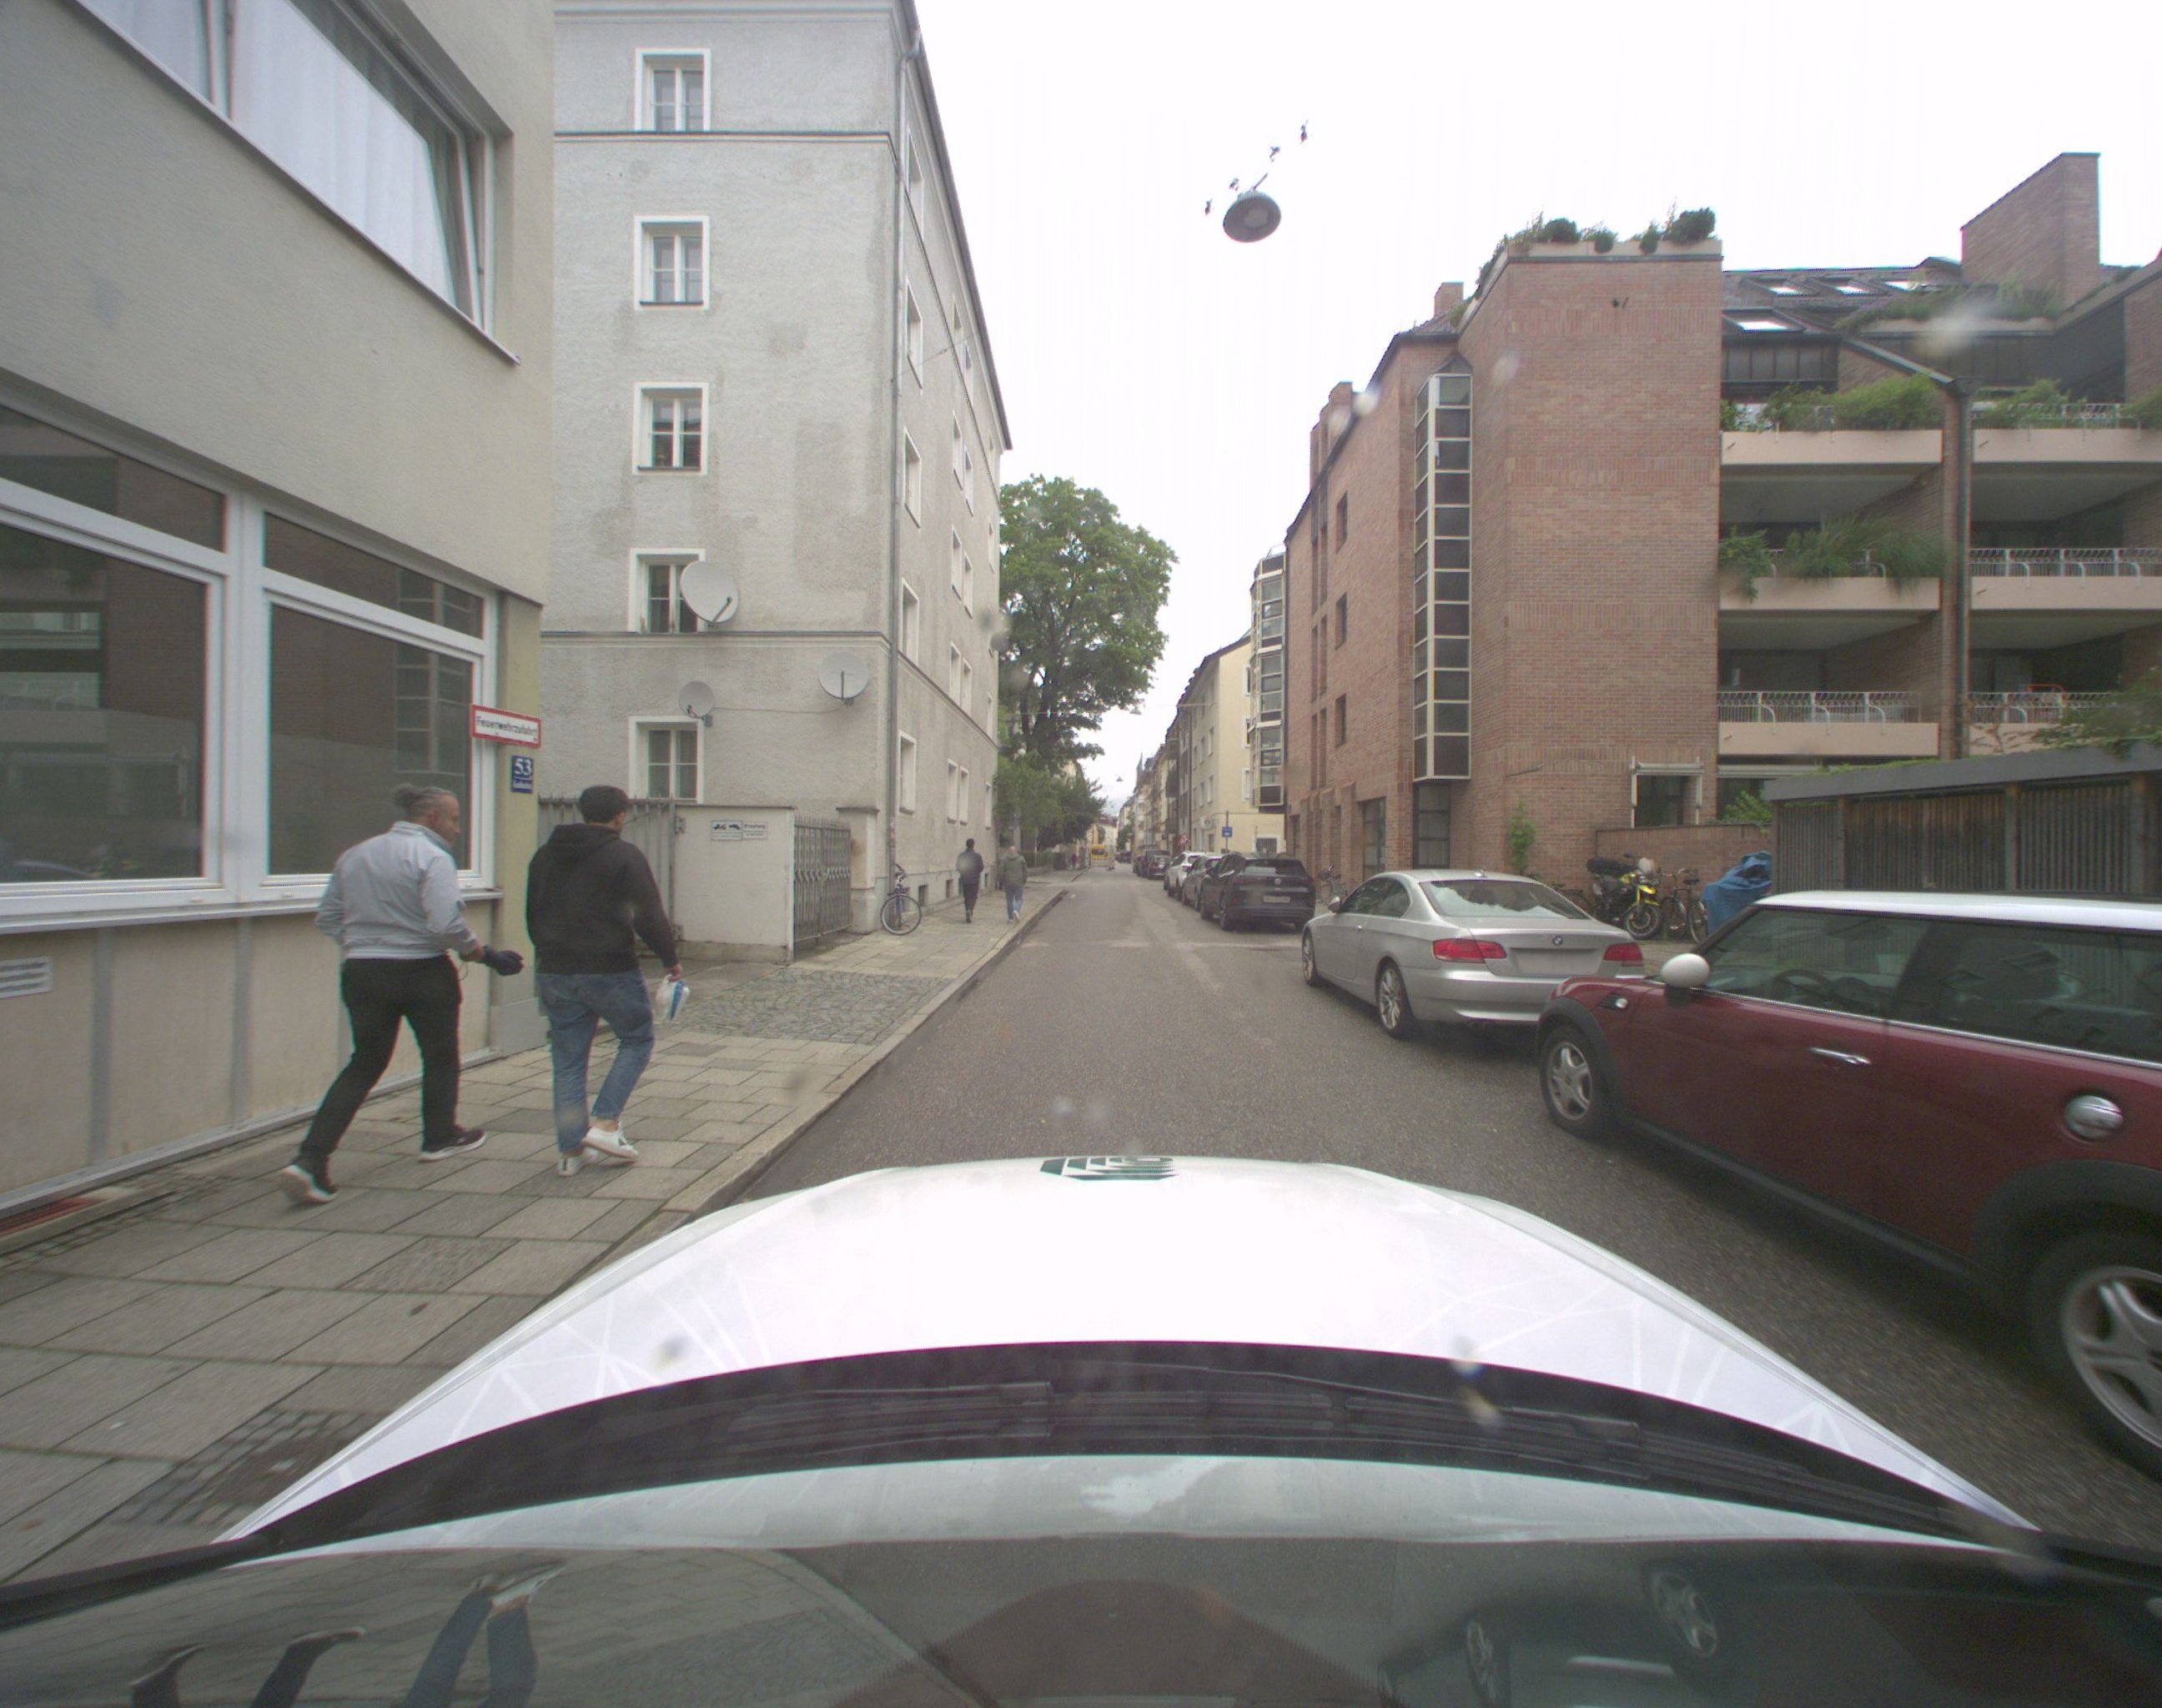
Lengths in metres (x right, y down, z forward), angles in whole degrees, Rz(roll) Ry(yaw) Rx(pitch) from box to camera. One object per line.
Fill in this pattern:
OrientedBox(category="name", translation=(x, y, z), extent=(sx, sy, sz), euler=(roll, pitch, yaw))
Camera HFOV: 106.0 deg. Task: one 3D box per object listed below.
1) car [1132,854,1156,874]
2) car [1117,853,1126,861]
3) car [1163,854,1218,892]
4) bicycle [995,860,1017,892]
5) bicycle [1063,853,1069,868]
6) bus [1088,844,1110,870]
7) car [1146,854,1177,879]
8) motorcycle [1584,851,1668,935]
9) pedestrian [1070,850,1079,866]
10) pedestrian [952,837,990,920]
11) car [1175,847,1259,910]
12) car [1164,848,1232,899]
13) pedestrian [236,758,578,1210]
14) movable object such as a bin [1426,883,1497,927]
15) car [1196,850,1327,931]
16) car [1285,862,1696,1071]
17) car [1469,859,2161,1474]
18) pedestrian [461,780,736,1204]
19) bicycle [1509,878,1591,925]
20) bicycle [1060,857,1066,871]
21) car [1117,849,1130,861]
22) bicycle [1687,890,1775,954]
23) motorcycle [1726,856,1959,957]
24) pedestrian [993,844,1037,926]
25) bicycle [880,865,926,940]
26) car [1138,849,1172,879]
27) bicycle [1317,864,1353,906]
OrientedBox(category="car", translation=(5.095, 0.790, 66.308), extent=(1.630, 1.515, 3.830), euler=(4, 0, 1))
OrientedBox(category="car", translation=(7.978, 0.557, 160.507), extent=(1.794, 1.614, 4.002), euler=(1, 0, 2))
OrientedBox(category="car", translation=(4.410, 0.721, 33.229), extent=(1.738, 1.445, 4.000), euler=(1, 0, 0))
OrientedBox(category="bicycle", translation=(-2.686, 0.763, 28.915), extent=(0.474, 1.111, 1.751), euler=(1, 0, -15))
OrientedBox(category="bicycle", translation=(-1.475, 0.670, 81.143), extent=(0.512, 1.418, 1.934), euler=(-1, -1, 1))
OrientedBox(category="bus", translation=(2.274, 0.368, 100.105), extent=(2.583, 3.102, 6.308), euler=(-1, -1, 2))
OrientedBox(category="car", translation=(4.914, 0.728, 50.060), extent=(1.618, 1.487, 3.810), euler=(1, 0, 2))
OrientedBox(category="motorcycle", translation=(9.371, 0.636, 14.076), extent=(0.536, 1.345, 1.947), euler=(-1, -1, 13))
OrientedBox(category="pedestrian", translation=(-0.569, 0.385, 74.124), extent=(0.753, 1.491, 0.831), euler=(-1, -1, 2))
OrientedBox(category="pedestrian", translation=(-2.326, 0.512, 17.303), extent=(0.610, 1.713, 0.823), euler=(2, -1, 1))
OrientedBox(category="car", translation=(3.855, 0.668, 23.655), extent=(1.716, 1.635, 3.879), euler=(-1, -1, -1))
OrientedBox(category="car", translation=(3.961, 0.630, 28.223), extent=(1.743, 1.630, 4.195), euler=(0, 0, -1))
OrientedBox(category="pedestrian", translation=(-3.005, 0.524, 3.750), extent=(0.715, 1.796, 0.917), euler=(2, -1, 2))
OrientedBox(category="movable object such as a bin", translation=(7.749, 1.030, 16.629), extent=(1.082, 0.832, 0.844), euler=(0, 0, 2))
OrientedBox(category="car", translation=(3.799, 0.702, 17.939), extent=(1.880, 1.555, 4.390), euler=(1, 0, 0))
OrientedBox(category="car", translation=(3.491, 0.823, 8.091), extent=(1.830, 1.417, 4.601), euler=(1, 0, 1))
OrientedBox(category="car", translation=(3.516, 0.780, 3.533), extent=(1.739, 1.462, 4.150), euler=(1, 0, 1))
OrientedBox(category="pedestrian", translation=(-2.220, 0.583, 3.865), extent=(0.715, 1.765, 0.838), euler=(2, -1, 2))
OrientedBox(category="bicycle", translation=(8.953, 0.909, 15.553), extent=(1.311, 0.859, 0.414), euler=(-1, -1, 2))
OrientedBox(category="bicycle", translation=(-1.518, 0.837, 68.331), extent=(0.444, 1.073, 2.467), euler=(-1, -1, 0))
OrientedBox(category="car", translation=(6.889, 0.153, 132.244), extent=(1.795, 1.712, 3.826), euler=(4, 0, 0))
OrientedBox(category="bicycle", translation=(9.825, 1.006, 12.350), extent=(0.372, 0.859, 1.322), euler=(-1, -1, 5))
OrientedBox(category="motorcycle", translation=(10.461, 0.714, 11.251), extent=(2.502, 1.343, 0.551), euler=(-1, -1, 6))
OrientedBox(category="pedestrian", translation=(-1.387, 0.637, 17.285), extent=(0.750, 1.659, 0.907), euler=(2, -1, 2))
OrientedBox(category="bicycle", translation=(-3.149, 0.808, 14.305), extent=(0.643, 1.217, 1.655), euler=(0, -1, -17))
OrientedBox(category="car", translation=(4.885, 0.633, 54.424), extent=(1.796, 1.820, 3.999), euler=(4, 0, 0))
OrientedBox(category="bicycle", translation=(6.872, 0.824, 22.083), extent=(0.557, 1.079, 1.472), euler=(0, 0, 2))
